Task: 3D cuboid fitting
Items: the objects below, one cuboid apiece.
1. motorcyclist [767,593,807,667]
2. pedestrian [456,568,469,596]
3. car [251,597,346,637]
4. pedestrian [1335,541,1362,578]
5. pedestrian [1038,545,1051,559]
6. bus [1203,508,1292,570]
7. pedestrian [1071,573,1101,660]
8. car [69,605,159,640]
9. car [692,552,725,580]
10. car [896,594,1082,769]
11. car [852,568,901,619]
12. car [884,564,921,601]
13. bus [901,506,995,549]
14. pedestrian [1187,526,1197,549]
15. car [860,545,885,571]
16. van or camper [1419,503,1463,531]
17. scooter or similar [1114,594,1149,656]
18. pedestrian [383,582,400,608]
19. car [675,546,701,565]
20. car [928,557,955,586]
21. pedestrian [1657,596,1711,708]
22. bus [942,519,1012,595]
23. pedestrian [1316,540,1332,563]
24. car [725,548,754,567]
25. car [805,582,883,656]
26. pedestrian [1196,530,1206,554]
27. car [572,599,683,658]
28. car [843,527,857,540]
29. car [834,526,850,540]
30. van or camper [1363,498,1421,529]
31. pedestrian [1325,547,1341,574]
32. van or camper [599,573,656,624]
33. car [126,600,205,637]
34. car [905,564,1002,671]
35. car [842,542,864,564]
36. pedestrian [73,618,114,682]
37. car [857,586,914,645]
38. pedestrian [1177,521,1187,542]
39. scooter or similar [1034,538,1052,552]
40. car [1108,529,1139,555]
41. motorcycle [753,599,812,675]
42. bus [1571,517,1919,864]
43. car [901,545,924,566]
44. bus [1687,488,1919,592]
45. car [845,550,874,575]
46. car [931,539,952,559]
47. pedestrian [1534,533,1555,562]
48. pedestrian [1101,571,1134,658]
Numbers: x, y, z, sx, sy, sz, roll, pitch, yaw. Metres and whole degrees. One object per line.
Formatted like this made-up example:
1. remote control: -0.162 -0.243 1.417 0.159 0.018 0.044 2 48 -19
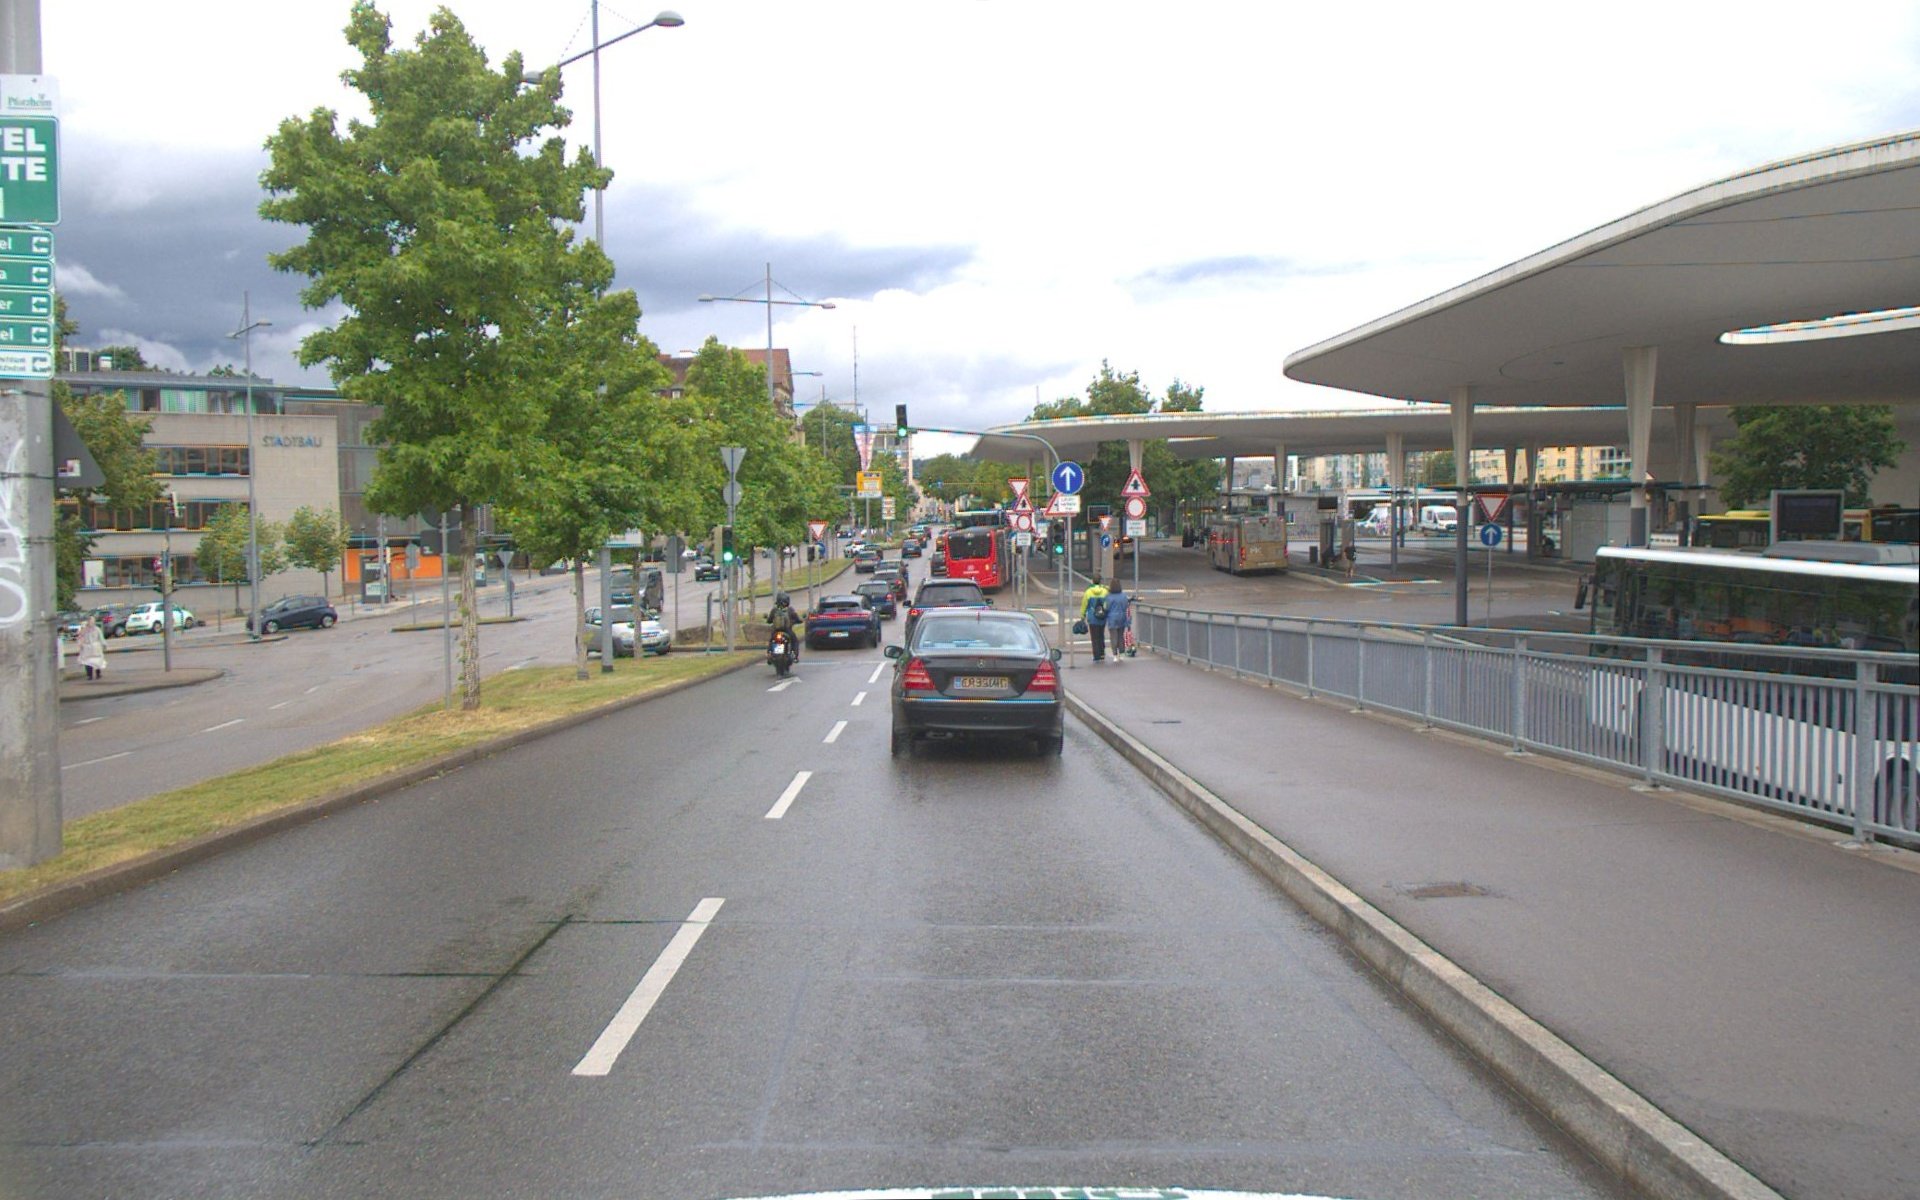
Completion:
1. motorcyclist: -3.404 0.583 32.572 0.628 1.370 0.689 -3 3 3
2. pedestrian: -31.909 -1.171 106.088 0.464 1.712 0.764 -3 3 6
3. car: -30.757 0.771 76.931 3.637 1.463 1.806 -7 5 -38
4. pedestrian: 18.636 -1.946 79.303 0.709 1.712 1.013 -5 3 -26
5. pedestrian: 6.580 -3.724 128.194 0.894 1.002 0.634 -1 -1 13
6. bus: 15.950 -3.512 92.656 2.666 3.095 12.092 -3 3 0
7. pedestrian: 2.491 0.329 32.641 0.512 1.699 0.580 -1 0 -1
8. car: -44.034 1.168 86.136 1.731 1.521 3.773 0 4 38
9. car: -17.956 -2.476 118.313 1.871 1.690 4.856 -2 4 -4
10. car: 0.234 0.726 17.104 1.663 1.487 4.303 -1 1 -1
11. car: -3.216 -0.283 64.233 1.642 1.650 3.872 -4 4 0
12. car: -2.780 -0.881 80.938 1.543 1.530 3.873 -4 4 0
13. bus: -1.323 -7.389 168.834 2.820 4.056 11.695 -4 4 -39
14. pedestrian: 18.018 -4.878 128.651 0.569 1.746 0.559 1 -1 34
15. car: -7.006 -3.396 133.029 1.761 1.940 3.639 1 0 -1
16. van or camper: 40.208 -6.932 138.432 1.953 2.139 5.480 1 1 -1
17. scooter or similar: 3.579 0.516 34.522 0.454 1.242 1.859 -2 0 -1
18. pedestrian: -32.147 -0.273 93.599 0.665 1.416 0.721 -2 3 -3
19. car: -26.769 -4.417 162.758 1.809 1.681 4.420 -2 3 -1
20. car: -1.175 -1.827 105.514 1.544 1.593 3.872 -4 4 0
21. pedestrian: 12.921 0.921 29.530 0.580 1.919 0.640 -3 5 -37
22. bus: 0.825 -2.340 84.992 3.219 3.348 10.882 -3 3 0
23. pedestrian: 20.297 -2.694 92.281 0.776 1.247 0.634 -2 3 17
24. car: -19.822 -3.854 148.841 1.809 1.530 4.921 -2 3 0
25. car: -3.157 0.474 45.818 1.779 1.597 4.405 -4 4 0
26. pedestrian: 17.248 -4.155 118.430 0.549 1.721 0.613 -2 3 -7
27. car: -9.317 0.760 46.141 1.618 1.473 3.830 -5 2 -34
28. car: -14.593 -8.872 220.320 1.544 1.593 3.431 -4 4 0
29. car: -15.269 -8.741 214.523 1.744 1.593 3.431 -4 4 0
30. van or camper: 37.800 -7.540 144.831 4.514 2.602 2.118 1 1 -2
31. pedestrian: 20.303 -2.149 90.092 0.776 1.401 0.634 -2 3 17
32. van or camper: -15.137 -0.046 75.528 2.176 2.108 5.272 -4 0 -9
33. car: -39.874 0.908 83.098 1.593 1.521 3.586 -2 3 14
34. car: -0.153 0.324 37.140 1.918 1.907 4.875 -4 4 0
35. car: -9.472 -4.142 146.587 1.608 1.836 3.639 1 0 0
36. pedestrian: -22.851 1.313 43.625 0.637 1.597 0.631 -3 1 9
37. car: -2.513 0.490 56.383 1.706 1.593 3.872 -4 4 0
38. pedestrian: 17.226 -5.316 128.577 0.568 1.606 0.560 1 -1 29
39. scooter or similar: 6.429 -4.248 127.974 1.216 1.030 0.765 -2 2 13
40. car: 11.585 -4.148 117.466 1.677 1.690 4.240 -1 3 -1
41. motorcycle: -3.462 0.712 32.444 0.776 1.283 1.856 -3 3 3
42. bus: 11.444 0.858 20.536 2.787 3.419 12.429 1 4 -1
43. car: -4.011 -3.725 139.608 1.828 1.713 3.999 1 0 -1
44. bus: 30.654 -2.280 60.050 2.732 3.313 12.140 -2 3 -2
45. car: -7.018 -2.604 115.499 1.828 1.713 3.999 1 0 -1
46. car: -1.680 -4.577 149.432 1.828 1.713 3.999 1 0 -1
47. pedestrian: 32.637 -2.924 92.426 0.779 1.613 0.907 0 2 -7
48. pedestrian: 3.101 0.295 32.599 0.577 1.700 0.580 1 -2 -1
